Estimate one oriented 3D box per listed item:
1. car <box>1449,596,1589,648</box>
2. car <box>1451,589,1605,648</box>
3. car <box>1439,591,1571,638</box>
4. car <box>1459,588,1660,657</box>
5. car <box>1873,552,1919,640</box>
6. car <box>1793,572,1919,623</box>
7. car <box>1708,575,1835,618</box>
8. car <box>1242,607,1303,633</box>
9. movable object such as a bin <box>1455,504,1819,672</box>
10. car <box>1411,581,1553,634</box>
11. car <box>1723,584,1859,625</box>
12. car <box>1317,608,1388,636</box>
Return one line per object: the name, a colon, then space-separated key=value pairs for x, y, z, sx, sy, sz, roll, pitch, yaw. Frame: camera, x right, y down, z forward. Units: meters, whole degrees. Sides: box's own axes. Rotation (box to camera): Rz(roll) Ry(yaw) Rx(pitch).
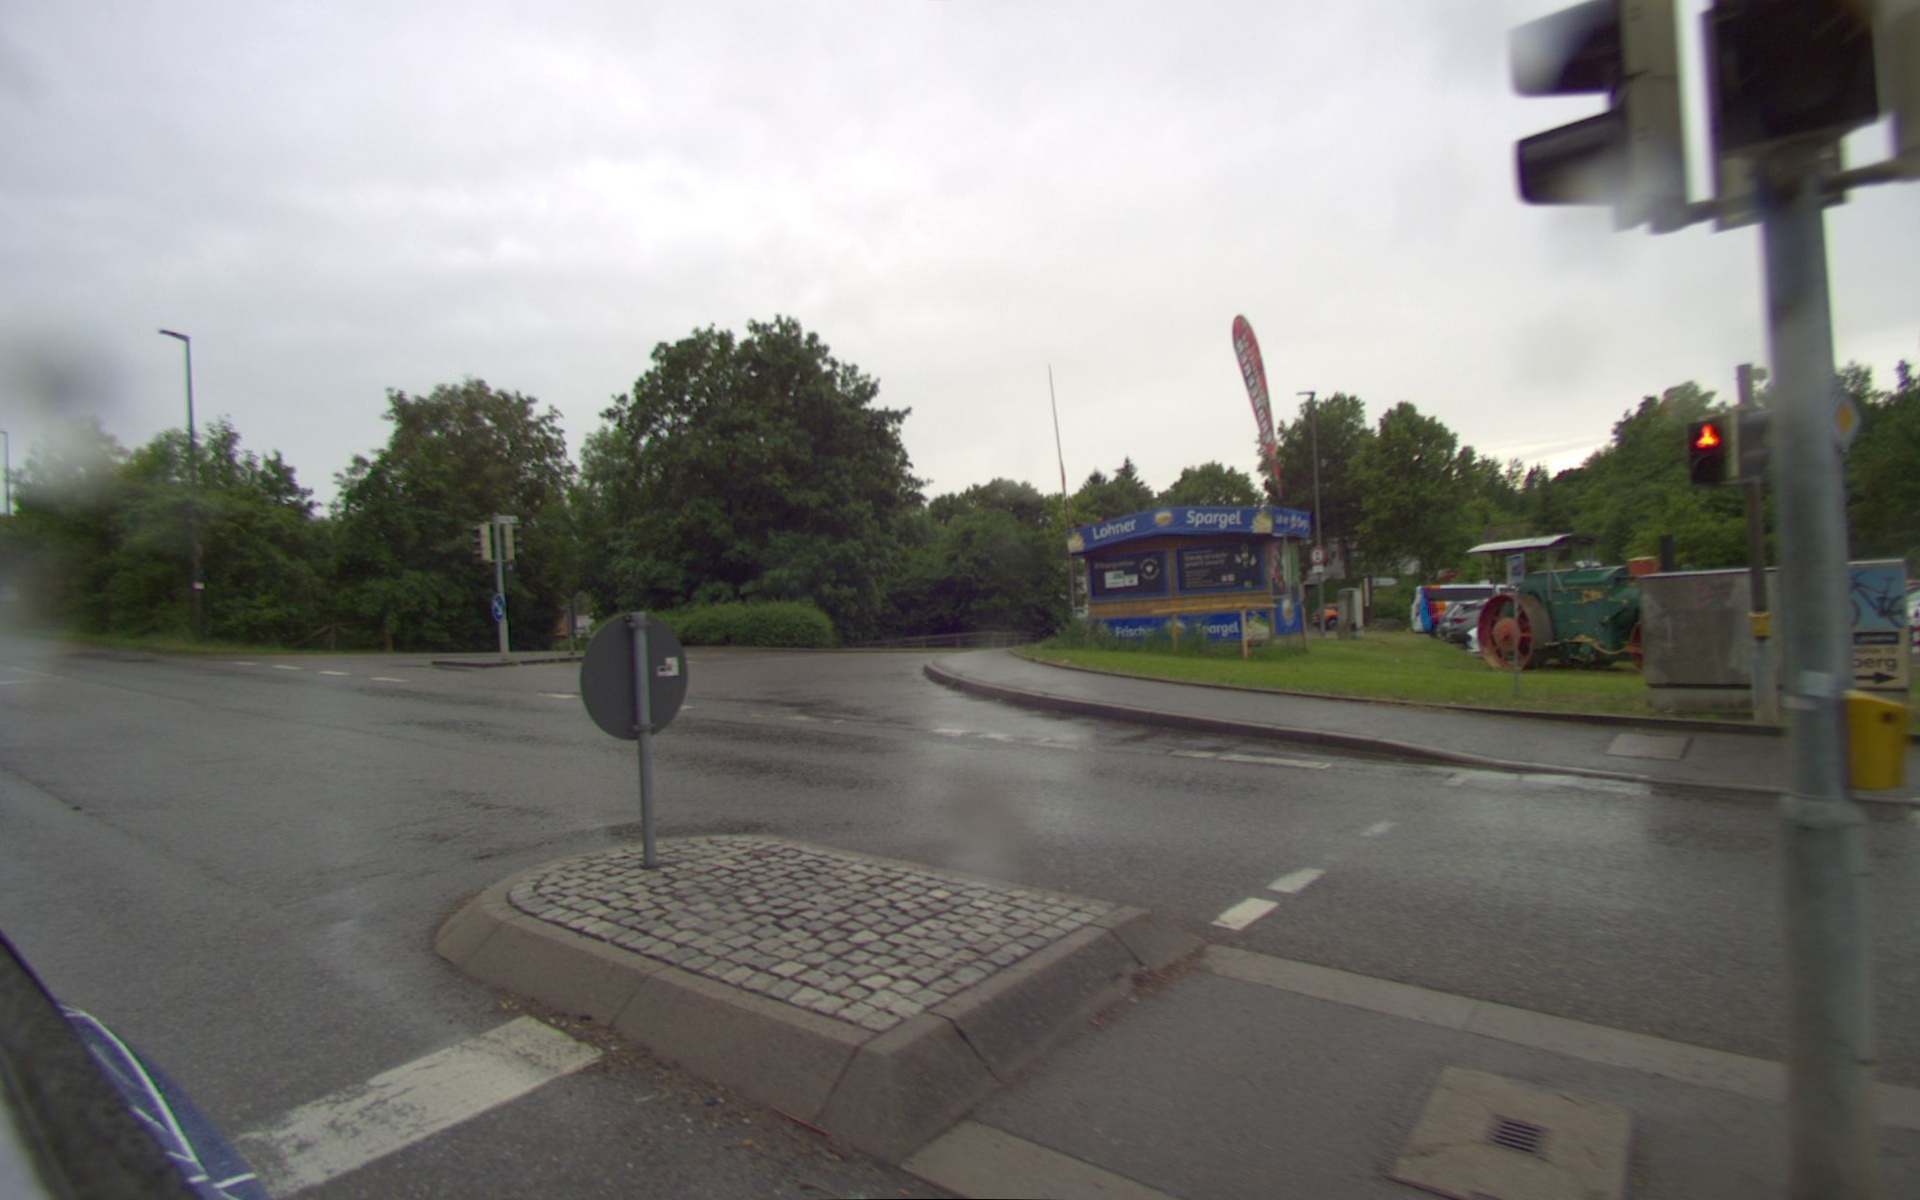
car: x=17.130 y=0.677 z=31.211 sx=3.606 sy=1.522 sz=1.579 roll=-1 pitch=0 yaw=25
car: x=16.157 y=0.530 z=28.995 sx=3.688 sy=1.586 sz=1.579 roll=-1 pitch=0 yaw=25
car: x=17.985 y=0.479 z=33.576 sx=3.688 sy=1.474 sz=1.579 roll=-1 pitch=0 yaw=25
car: x=14.400 y=0.540 z=24.567 sx=3.975 sy=1.586 sz=1.657 roll=-1 pitch=0 yaw=24
car: x=24.048 y=-0.123 z=23.171 sx=4.209 sy=1.995 sz=1.889 roll=-1 pitch=0 yaw=24
car: x=28.667 y=-0.076 z=31.958 sx=3.343 sy=1.551 sz=1.436 roll=-1 pitch=0 yaw=25
car: x=30.730 y=-0.107 z=38.435 sx=3.456 sy=1.551 sz=1.437 roll=-1 pitch=0 yaw=22
car: x=19.963 y=1.263 z=64.663 sx=3.540 sy=1.522 sz=1.575 roll=-1 pitch=0 yaw=-25
movable object such as a bin: x=12.464 y=-0.135 z=19.340 sx=2.273 sy=2.706 sz=5.717 roll=-1 pitch=-1 yaw=-12
car: x=18.475 y=0.288 z=36.061 sx=4.363 sy=1.779 sz=1.906 roll=-1 pitch=0 yaw=25
car: x=29.824 y=0.176 z=36.432 sx=3.456 sy=1.409 sz=1.437 roll=-1 pitch=0 yaw=22
car: x=22.066 y=1.235 z=56.979 sx=3.387 sy=1.522 sz=1.626 roll=-1 pitch=0 yaw=7
